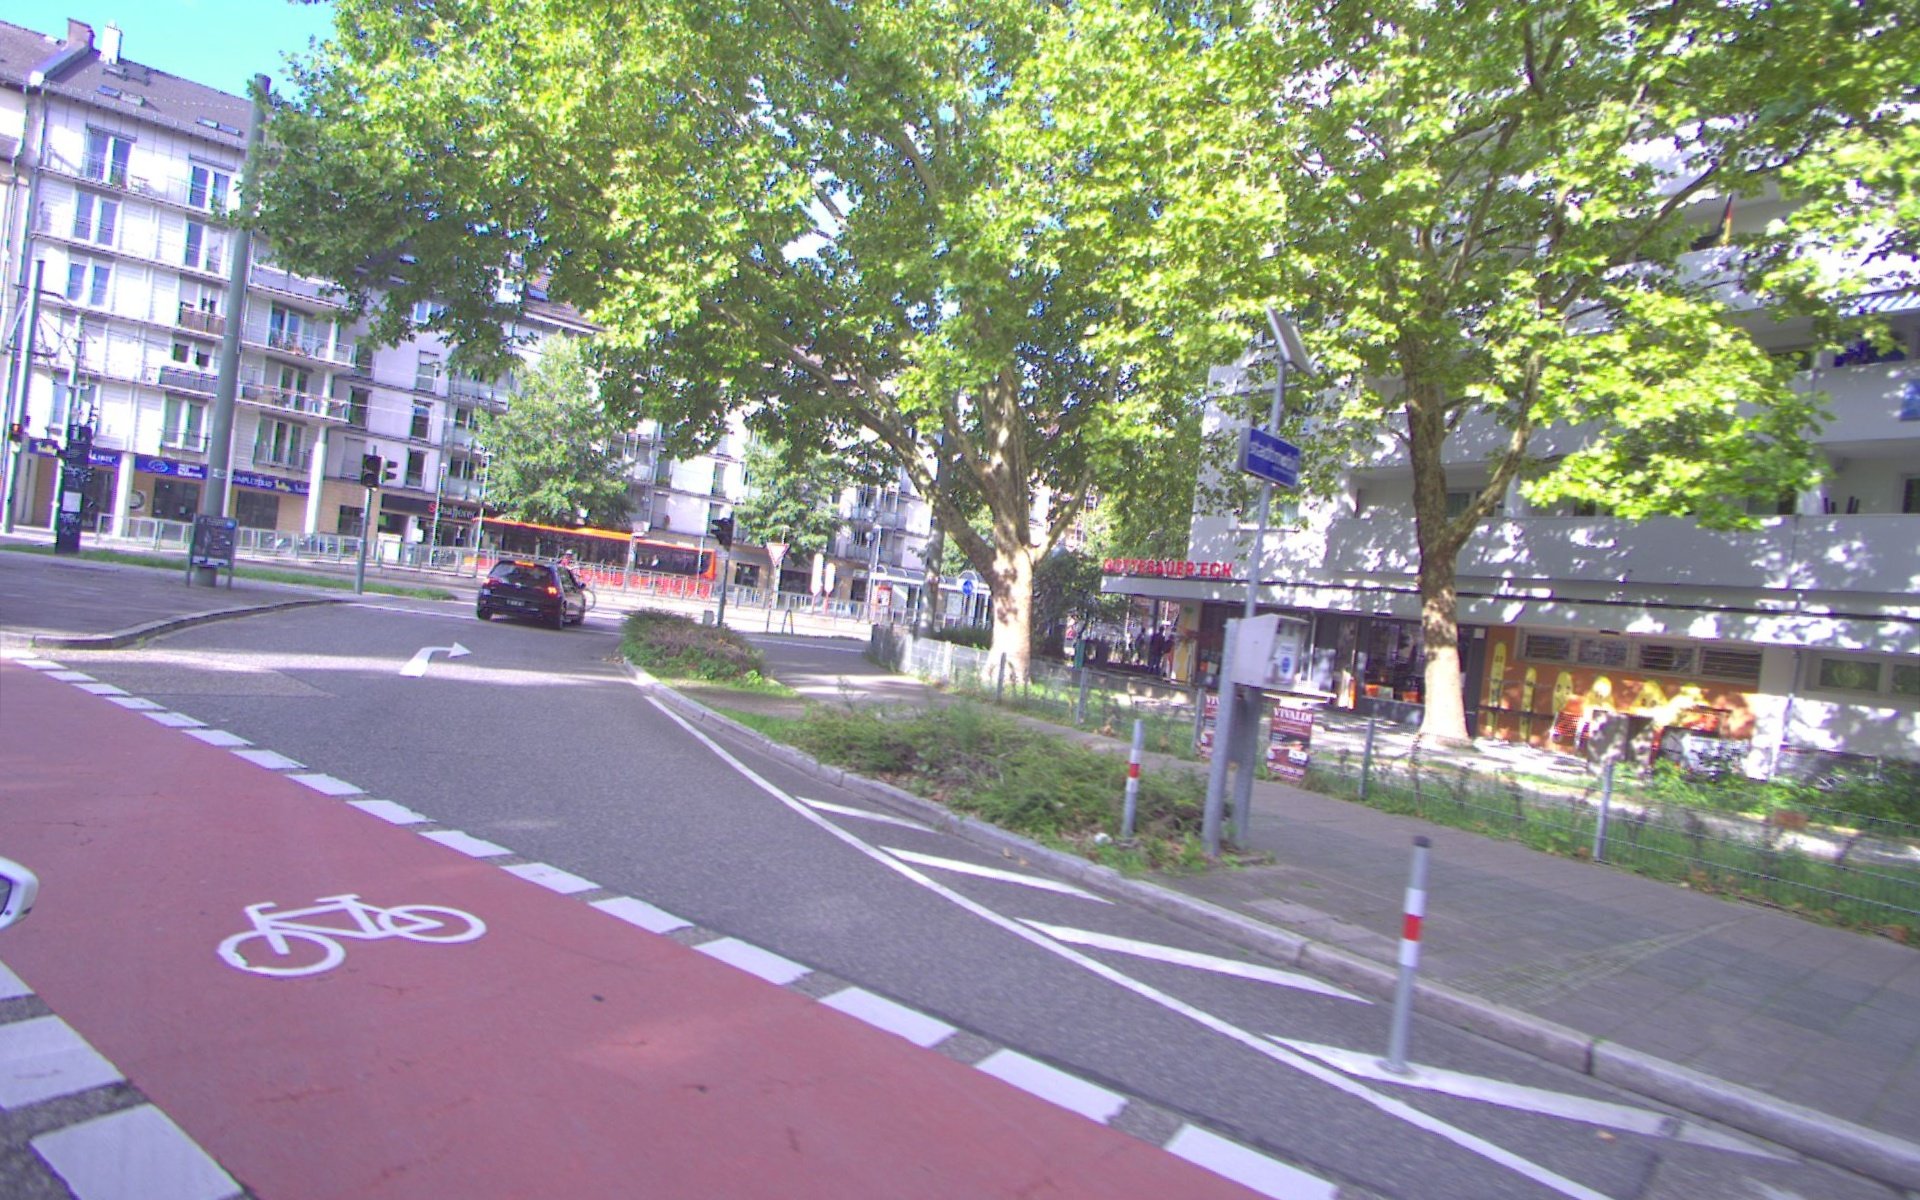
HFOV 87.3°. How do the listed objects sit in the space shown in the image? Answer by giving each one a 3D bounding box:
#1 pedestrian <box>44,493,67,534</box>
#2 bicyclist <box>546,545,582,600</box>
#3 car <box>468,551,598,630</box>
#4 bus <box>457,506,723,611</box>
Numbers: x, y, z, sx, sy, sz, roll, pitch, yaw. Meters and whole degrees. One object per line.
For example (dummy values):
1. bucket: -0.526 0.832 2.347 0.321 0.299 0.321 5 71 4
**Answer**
1. pedestrian: -39.724 -3.790 44.187 0.493 1.733 0.522 9 -2 -35
2. bicyclist: -12.271 -0.848 31.175 0.774 1.599 0.620 7 1 -34
3. car: -9.736 -0.198 23.263 1.728 1.430 3.994 8 -1 -10
4. bus: -18.654 -2.001 51.574 12.198 3.591 2.998 8 0 -37
